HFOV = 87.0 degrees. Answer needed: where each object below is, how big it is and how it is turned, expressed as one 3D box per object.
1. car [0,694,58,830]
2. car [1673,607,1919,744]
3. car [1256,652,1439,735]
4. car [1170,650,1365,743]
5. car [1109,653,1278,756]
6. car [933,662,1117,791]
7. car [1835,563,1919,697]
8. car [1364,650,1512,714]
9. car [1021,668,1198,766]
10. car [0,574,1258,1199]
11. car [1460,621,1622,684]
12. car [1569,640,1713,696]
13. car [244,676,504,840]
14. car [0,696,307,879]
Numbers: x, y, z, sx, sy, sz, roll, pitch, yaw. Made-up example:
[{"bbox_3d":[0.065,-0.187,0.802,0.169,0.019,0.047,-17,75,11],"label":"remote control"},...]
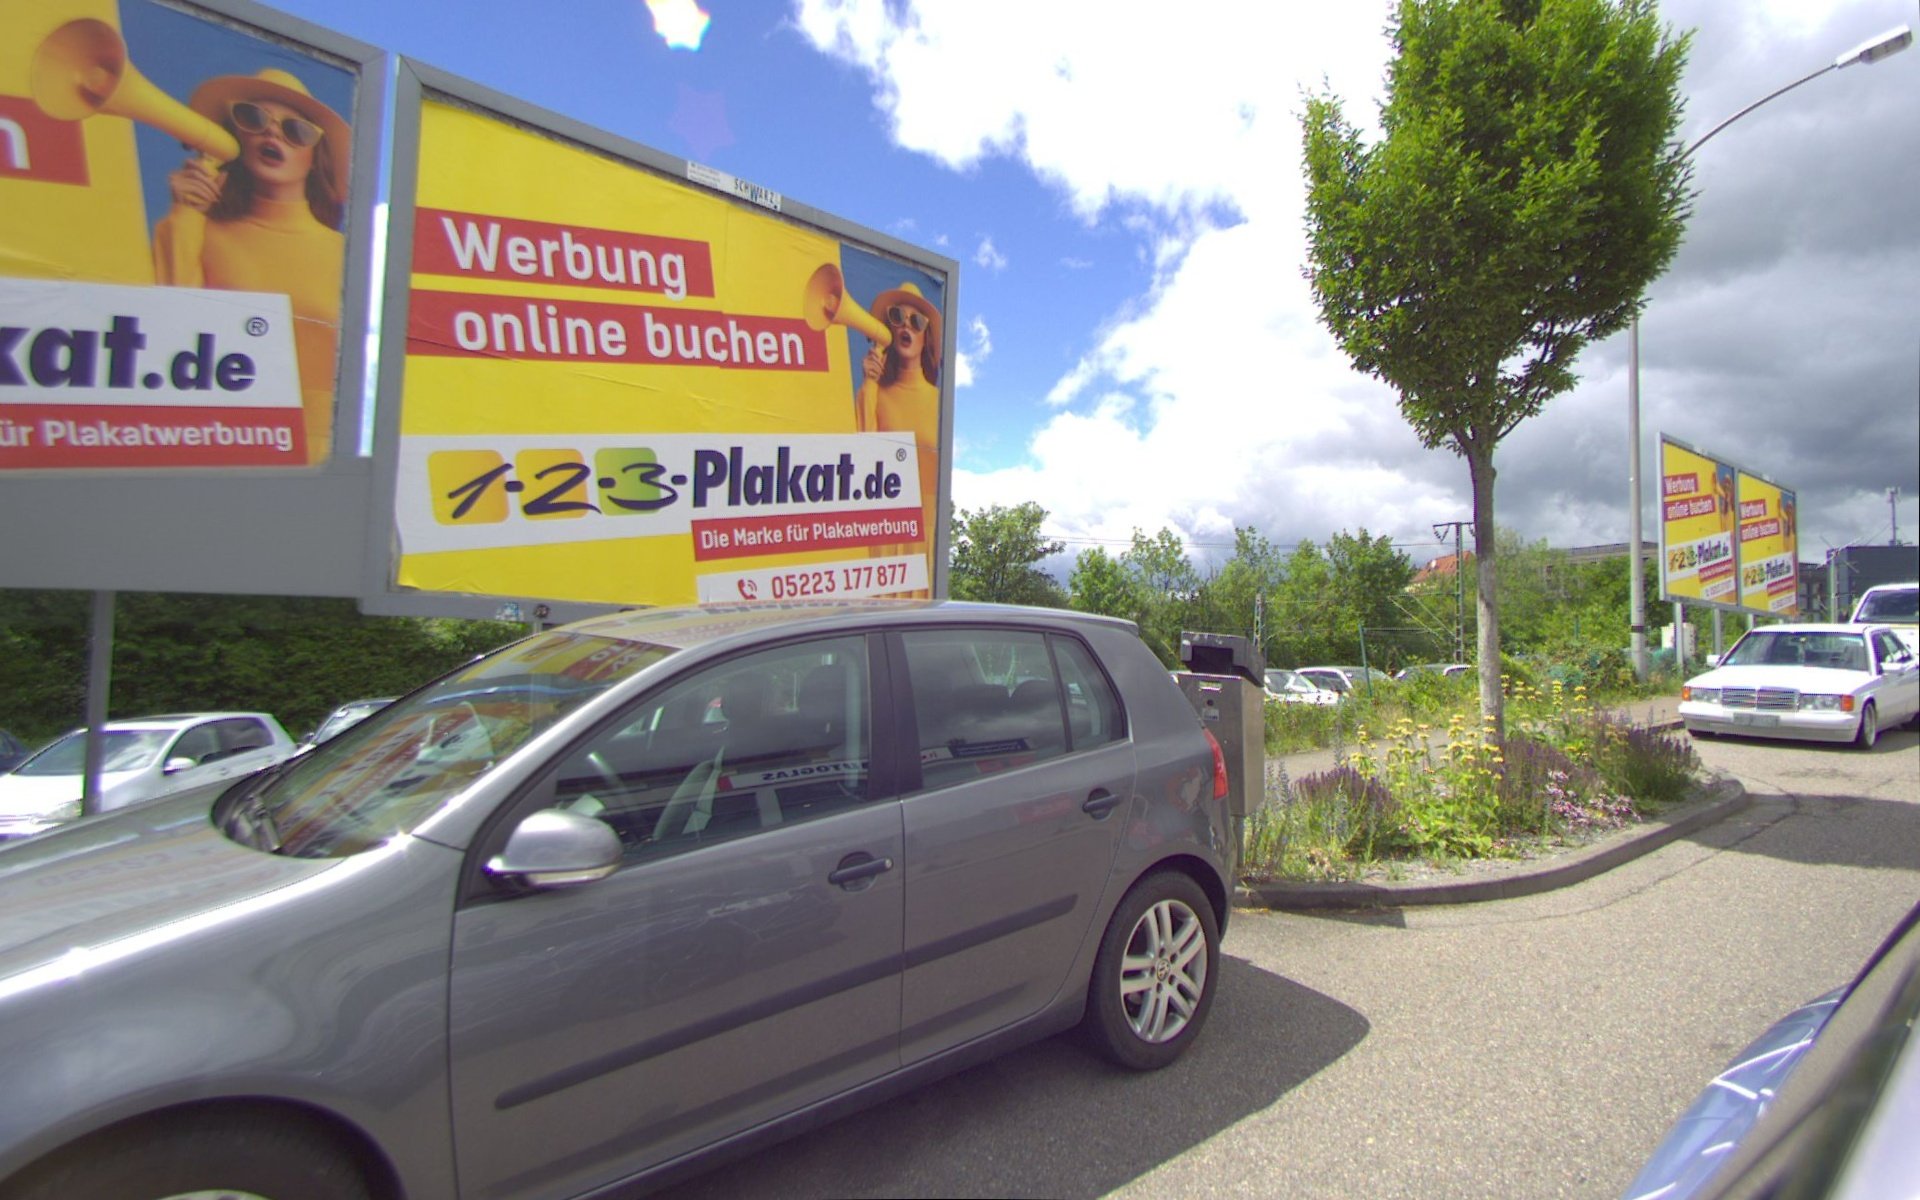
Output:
[{"bbox_3d":[-11.672,1.922,10.791,1.700,1.460,4.007,0,-1,-20],"label":"car"},{"bbox_3d":[10.411,0.794,12.239,4.125,1.405,1.642,0,-1,-36],"label":"car"},{"bbox_3d":[8.627,2.020,22.919,1.611,1.509,4.007,0,-1,-21],"label":"car"},{"bbox_3d":[6.527,1.995,21.923,1.756,1.618,4.005,0,-1,-26],"label":"car"},{"bbox_3d":[4.553,1.987,20.353,1.606,1.661,4.007,0,-1,-15],"label":"car"},{"bbox_3d":[0.948,1.994,17.084,1.681,1.656,4.008,0,-1,-19],"label":"car"},{"bbox_3d":[16.755,0.465,16.888,5.441,2.030,1.981,0,-1,-35],"label":"car"},{"bbox_3d":[11.526,1.919,24.328,3.640,1.276,1.577,0,-1,-34],"label":"car"},{"bbox_3d":[2.697,2.115,19.267,1.630,1.399,4.008,0,-1,-20],"label":"car"},{"bbox_3d":[-1.050,0.701,2.832,3.971,1.504,1.659,0,1,-39],"label":"car"},{"bbox_3d":[15.338,1.327,26.662,4.466,1.460,1.823,0,-1,-33],"label":"car"},{"bbox_3d":[19.763,1.905,29.329,4.466,1.369,1.823,0,-1,-33],"label":"car"},{"bbox_3d":[-7.590,1.951,13.583,1.751,1.560,4.006,0,-1,-10],"label":"car"},{"bbox_3d":[-9.443,1.976,11.602,1.703,1.371,4.043,0,-1,-7],"label":"car"}]
